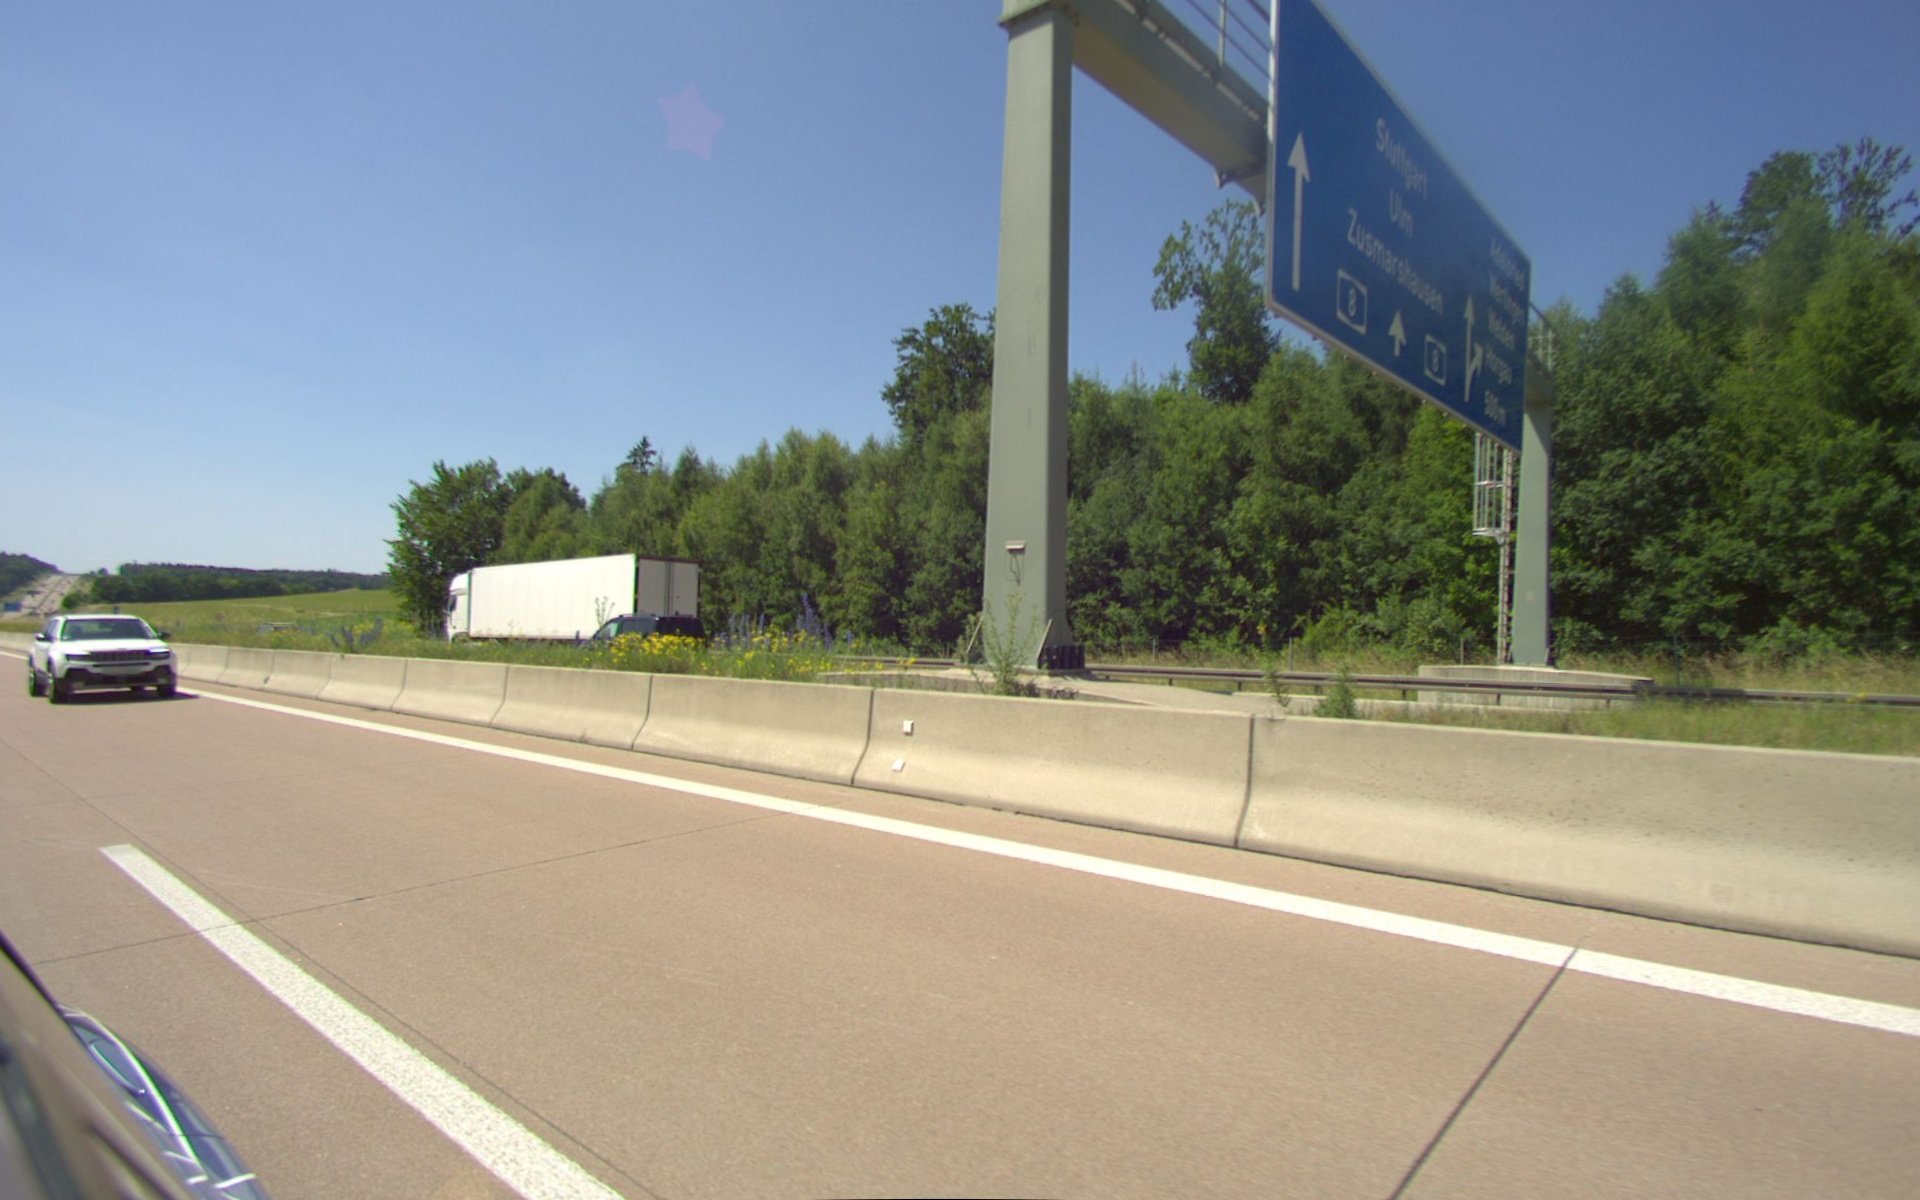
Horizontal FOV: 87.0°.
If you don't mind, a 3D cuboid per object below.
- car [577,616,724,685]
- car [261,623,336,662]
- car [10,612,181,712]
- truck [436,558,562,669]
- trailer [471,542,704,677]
[{"bbox_3d":[-8.181,1.271,26.598,3.997,1.667,1.871,-1,-1,41],"label":"car"},{"bbox_3d":[-31.568,1.981,48.267,3.998,1.741,1.973,-1,0,41],"label":"car"},{"bbox_3d":[-16.304,1.069,18.994,4.833,1.619,1.859,-1,-1,42],"label":"car"},{"bbox_3d":[-19.952,0.606,43.633,6.477,4.414,2.674,-2,-1,43],"label":"truck"},{"bbox_3d":[-14.709,0.440,38.870,13.191,4.468,2.674,-2,-1,43],"label":"trailer"}]
